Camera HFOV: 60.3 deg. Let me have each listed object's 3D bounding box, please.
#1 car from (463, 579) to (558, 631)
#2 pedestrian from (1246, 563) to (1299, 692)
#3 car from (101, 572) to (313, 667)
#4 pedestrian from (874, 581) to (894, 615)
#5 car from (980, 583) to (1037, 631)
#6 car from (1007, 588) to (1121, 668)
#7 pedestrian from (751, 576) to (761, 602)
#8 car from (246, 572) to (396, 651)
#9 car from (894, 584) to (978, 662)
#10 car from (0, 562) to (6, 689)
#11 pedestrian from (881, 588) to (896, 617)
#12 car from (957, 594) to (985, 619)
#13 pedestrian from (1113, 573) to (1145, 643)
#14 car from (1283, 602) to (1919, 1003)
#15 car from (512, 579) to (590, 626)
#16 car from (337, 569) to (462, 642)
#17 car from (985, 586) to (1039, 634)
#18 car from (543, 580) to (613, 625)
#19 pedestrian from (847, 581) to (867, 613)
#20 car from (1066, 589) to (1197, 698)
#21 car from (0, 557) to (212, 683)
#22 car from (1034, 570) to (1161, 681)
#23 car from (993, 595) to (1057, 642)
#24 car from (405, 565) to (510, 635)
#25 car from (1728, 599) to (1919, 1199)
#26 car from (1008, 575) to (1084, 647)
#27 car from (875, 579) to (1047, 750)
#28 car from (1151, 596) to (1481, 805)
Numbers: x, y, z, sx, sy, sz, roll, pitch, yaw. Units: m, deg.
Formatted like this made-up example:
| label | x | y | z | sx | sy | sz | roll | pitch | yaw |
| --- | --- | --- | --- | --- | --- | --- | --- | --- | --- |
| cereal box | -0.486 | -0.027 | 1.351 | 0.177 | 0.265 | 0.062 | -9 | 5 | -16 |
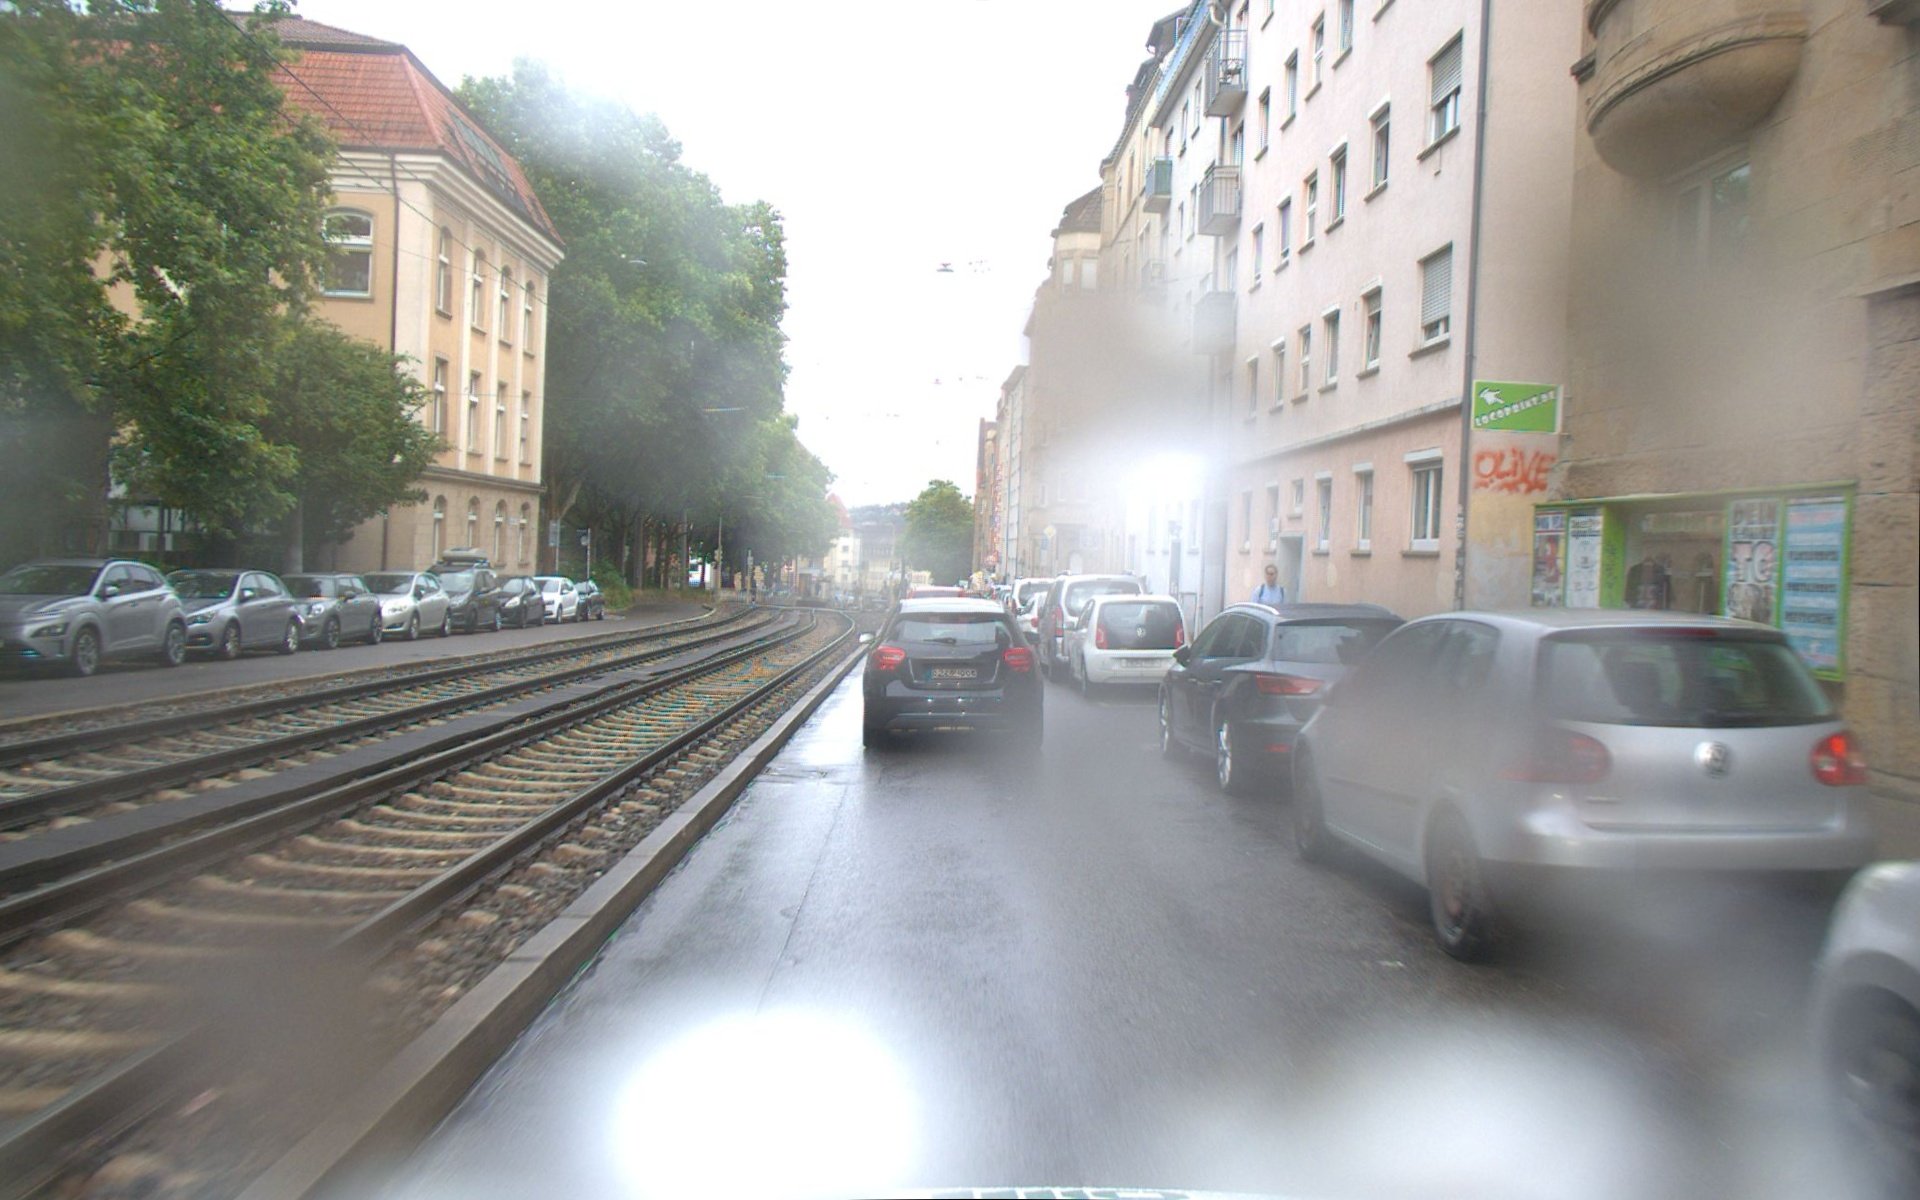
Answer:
| label | x | y | z | sx | sy | sz | roll | pitch | yaw |
| --- | --- | --- | --- | --- | --- | --- | --- | --- | --- |
| car | -12.955 | 0.123 | 47.851 | 1.640 | 1.438 | 4.010 | -1 | 0 | 0 |
| pedestrian | 4.434 | 0.379 | 23.503 | 0.595 | 1.794 | 0.688 | -1 | 0 | -2 |
| car | -12.400 | 0.285 | 27.530 | 1.719 | 1.438 | 4.152 | -1 | 0 | -2 |
| pedestrian | -4.580 | -0.130 | 99.828 | 1.115 | 2.033 | 1.171 | 0 | 0 | -5 |
| car | 1.803 | 0.255 | 62.723 | 1.731 | 1.697 | 4.330 | 2 | 0 | -3 |
| car | 2.055 | 0.511 | 34.084 | 1.834 | 1.481 | 4.901 | 1 | 1 | -2 |
| pedestrian | -14.431 | -0.762 | 117.139 | 0.523 | 1.784 | 0.607 | 3 | 0 | -1 |
| car | -12.475 | 0.205 | 32.539 | 1.508 | 1.438 | 3.951 | -1 | 0 | -2 |
| car | -0.545 | 0.475 | 37.047 | 1.749 | 1.609 | 3.999 | 1 | 0 | -1 |
| car | -12.125 | 0.326 | 17.315 | 1.812 | 1.489 | 4.548 | -1 | 0 | -3 |
| pedestrian | -4.126 | 0.118 | 95.283 | 0.789 | 1.662 | 0.892 | 0 | 0 | -1 |
| car | 0.731 | 0.424 | 111.274 | 1.790 | 1.646 | 3.863 | 0 | 1 | -1 |
| pedestrian | 4.595 | 0.203 | 45.095 | 0.730 | 1.865 | 1.039 | -1 | 0 | 0 |
| car | 2.867 | 0.756 | 8.155 | 1.634 | 1.459 | 3.954 | 0 | 0 | -2 |
| car | -12.963 | 0.051 | 52.578 | 1.469 | 1.415 | 3.987 | -1 | 0 | 0 |
| car | -12.577 | 0.099 | 37.365 | 1.508 | 1.531 | 4.153 | -1 | 0 | -2 |
| car | 1.748 | 0.307 | 56.958 | 1.659 | 1.556 | 3.999 | 1 | 0 | -1 |
| car | -13.064 | 0.071 | 56.772 | 1.582 | 1.454 | 3.851 | 1 | 1 | -1 |
| pedestrian | -5.888 | -0.185 | 94.337 | 1.033 | 1.748 | 0.904 | 2 | 0 | 0 |
| car | 2.491 | 0.591 | 24.705 | 1.538 | 1.487 | 3.599 | 1 | 0 | -1 |
| car | -12.180 | 0.245 | 22.858 | 1.719 | 1.563 | 4.541 | -1 | 0 | -2 |
| car | 2.329 | 0.403 | 28.904 | 1.754 | 1.796 | 4.210 | 0 | 0 | -2 |
| car | 1.997 | 0.559 | 52.243 | 1.683 | 1.370 | 4.460 | 2 | 0 | -2 |
| car | -12.704 | -0.007 | 42.023 | 1.545 | 1.672 | 4.070 | -1 | 0 | -2 |
| car | 3.092 | 0.744 | 2.972 | 1.559 | 1.459 | 3.682 | 0 | 0 | -3 |
| car | 2.232 | 0.270 | 43.959 | 1.791 | 1.781 | 4.467 | 1 | 0 | 0 |
| car | -0.036 | 0.581 | 16.859 | 1.548 | 1.531 | 3.573 | 1 | 0 | -2 |
| car | 2.754 | 0.702 | 13.765 | 1.636 | 1.434 | 4.309 | 1 | 0 | -3 |
